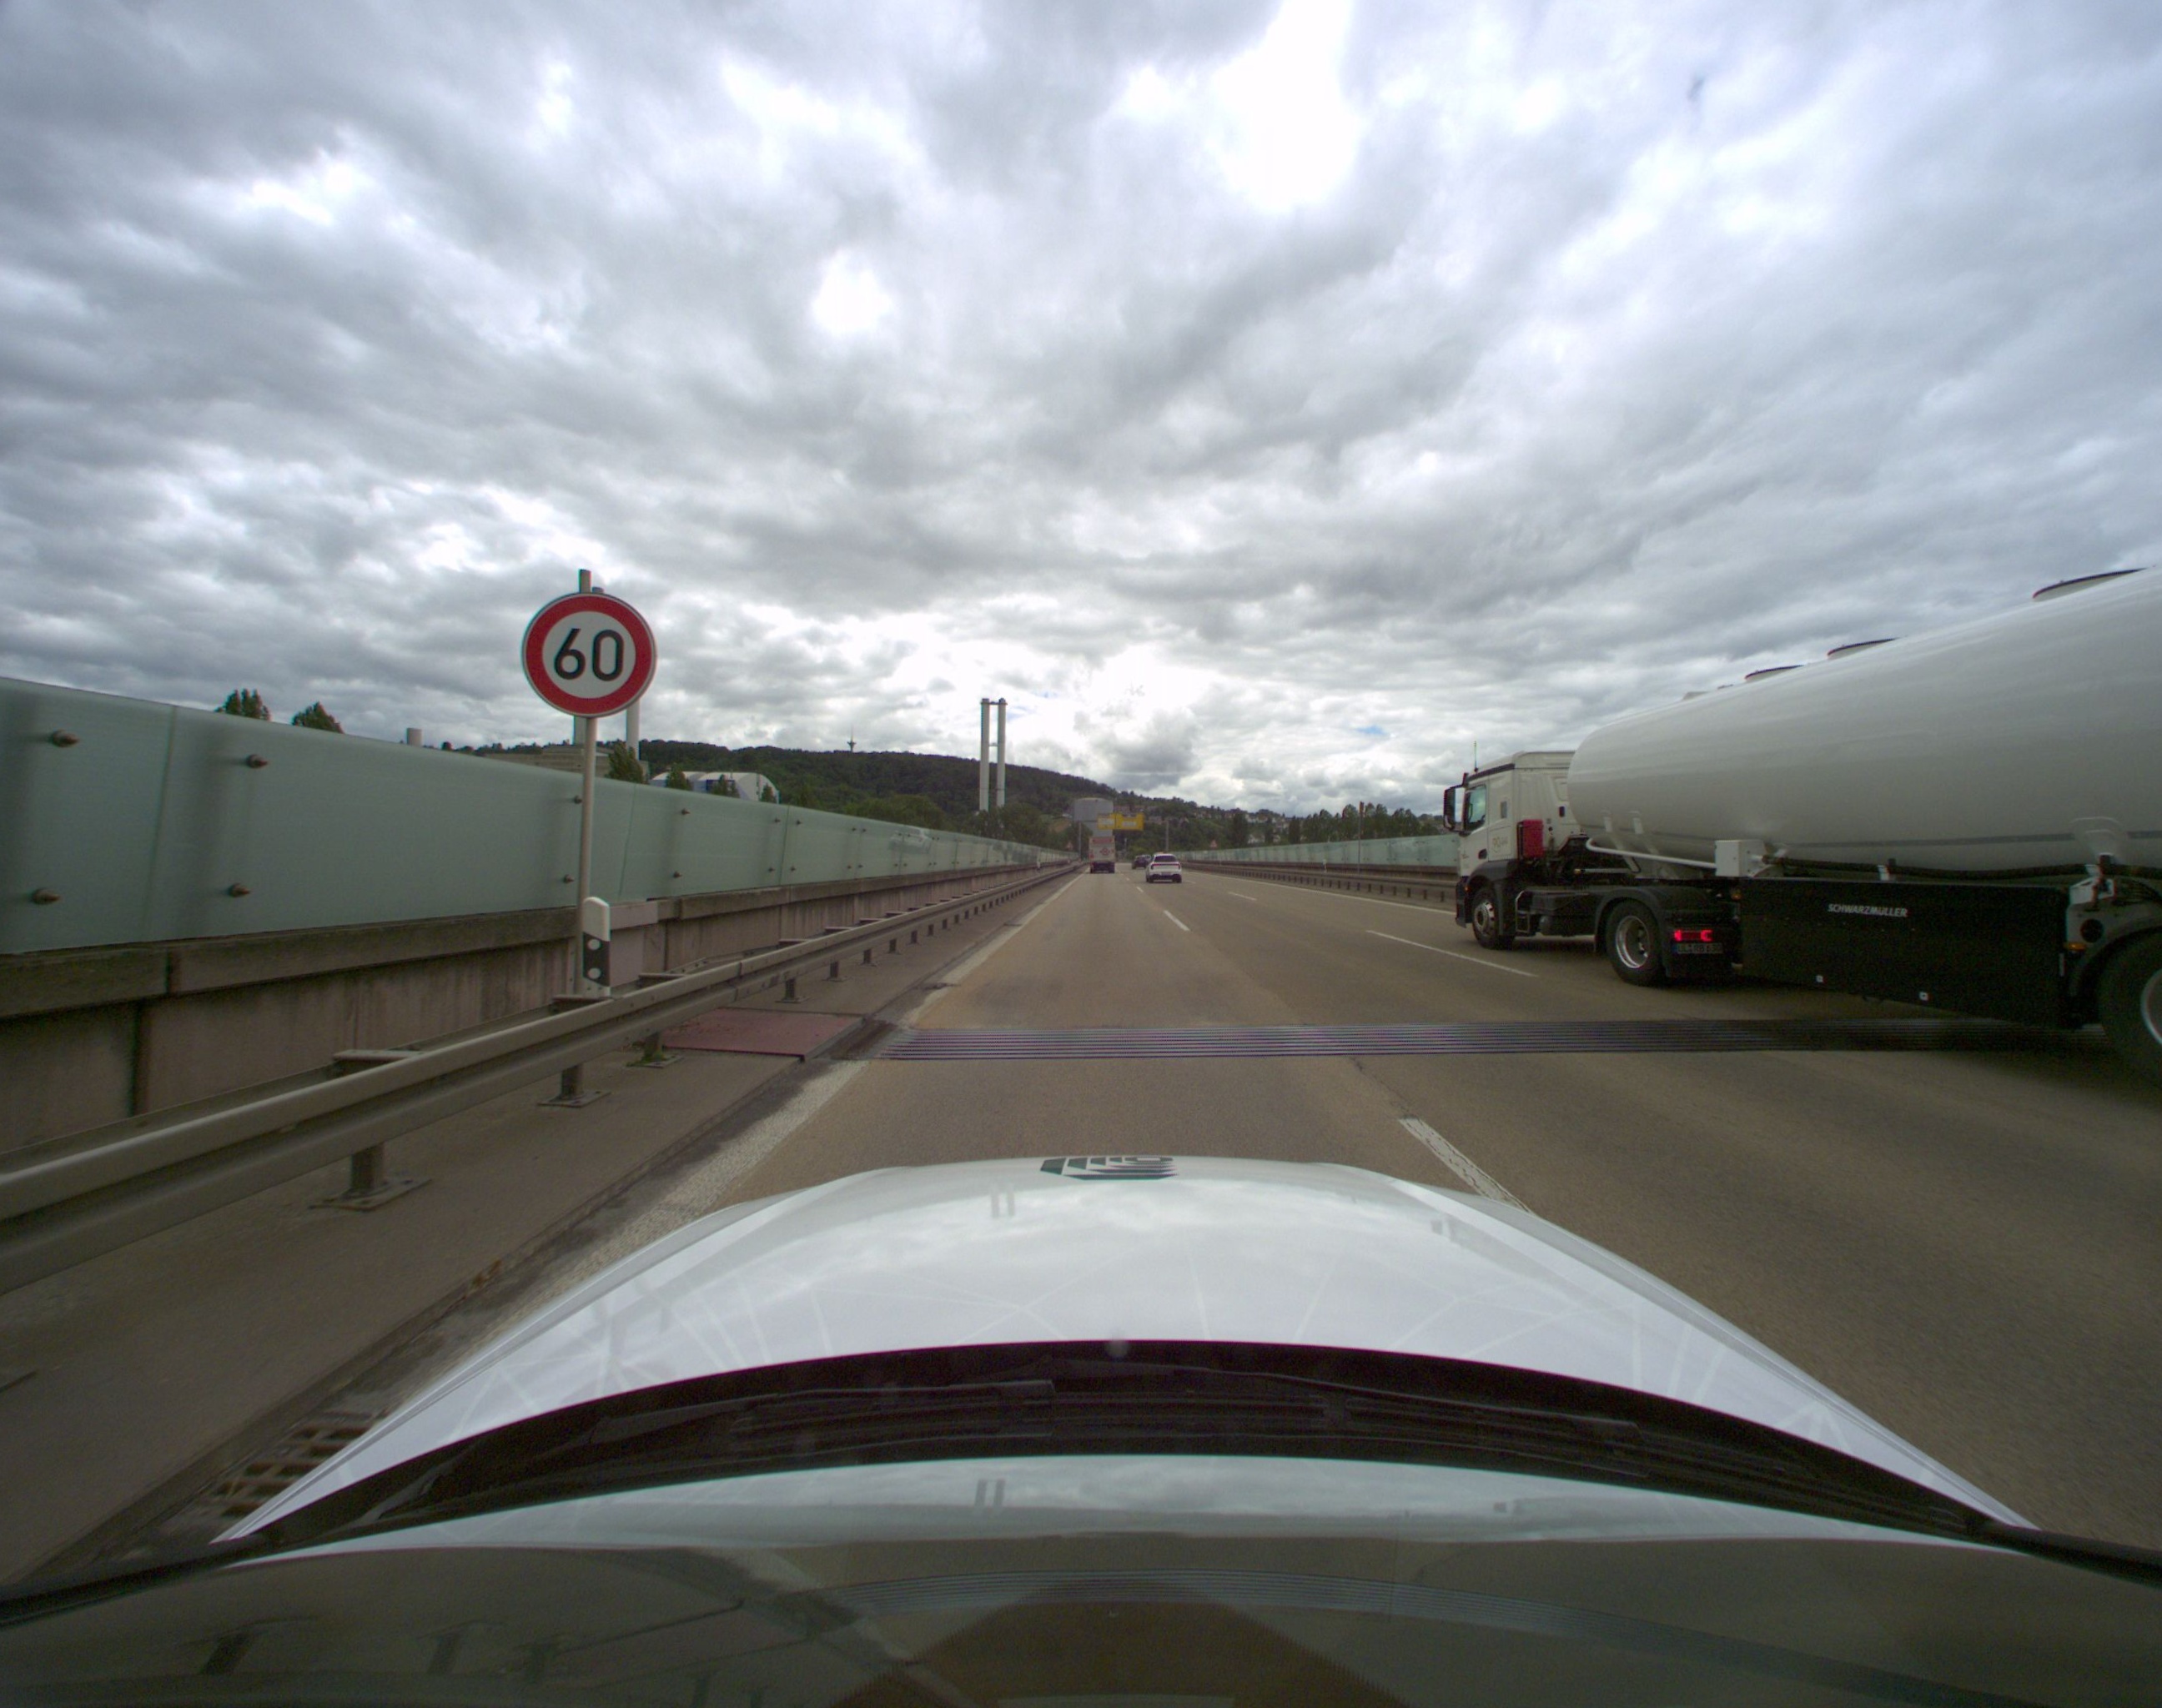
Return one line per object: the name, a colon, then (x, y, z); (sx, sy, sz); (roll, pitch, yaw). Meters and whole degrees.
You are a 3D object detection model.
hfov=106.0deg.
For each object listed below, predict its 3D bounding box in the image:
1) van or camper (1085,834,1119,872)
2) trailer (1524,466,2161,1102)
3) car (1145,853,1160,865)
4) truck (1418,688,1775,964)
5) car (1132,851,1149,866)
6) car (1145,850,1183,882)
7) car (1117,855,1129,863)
van or camper: (2.171, -0.032, 81.090); (3.109, 3.579, 8.555); (-1, 0, 3)
trailer: (7.387, -0.388, 5.815); (2.640, 3.543, 11.224); (-1, 0, 2)
car: (10.528, 0.690, 119.848); (1.916, 1.785, 4.115); (0, 0, 2)
truck: (7.618, -0.348, 12.903); (2.621, 3.514, 4.906); (-1, 0, 2)
car: (7.416, 0.546, 101.614); (1.916, 1.785, 4.115); (0, 0, 2)
car: (4.842, 0.658, 47.904); (1.916, 1.785, 4.115); (0, 0, 2)
car: (11.474, 1.321, 222.408); (2.457, 1.979, 5.175); (-1, 0, 11)
